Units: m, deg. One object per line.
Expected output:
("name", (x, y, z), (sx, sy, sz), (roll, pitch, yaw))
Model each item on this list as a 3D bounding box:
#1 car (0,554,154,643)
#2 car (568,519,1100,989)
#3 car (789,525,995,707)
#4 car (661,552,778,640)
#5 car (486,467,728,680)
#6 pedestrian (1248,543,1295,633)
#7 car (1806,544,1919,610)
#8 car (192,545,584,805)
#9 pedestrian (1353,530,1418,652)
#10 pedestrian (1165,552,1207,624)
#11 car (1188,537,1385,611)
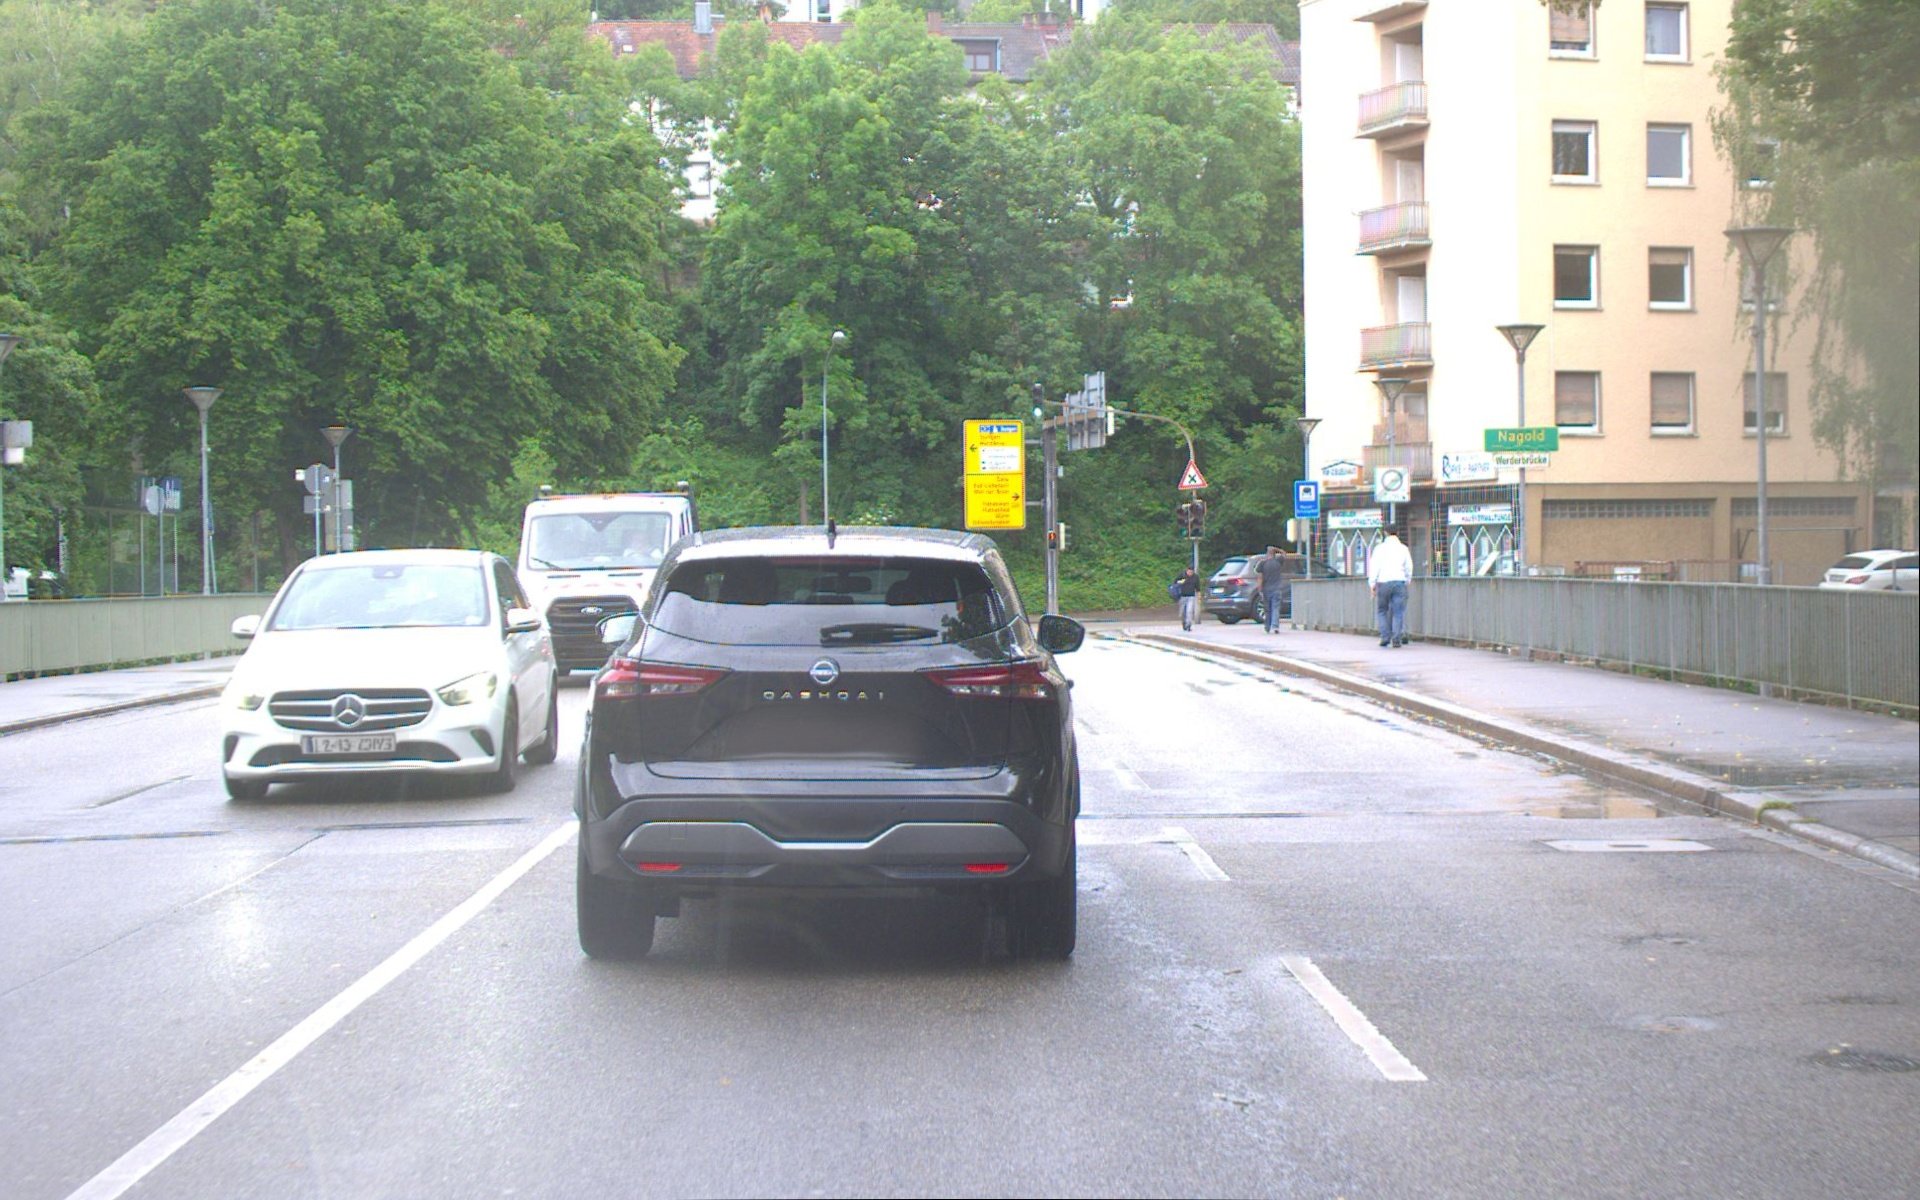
("car", (-20.219, -0.040, 75.527), (4.741, 1.848, 2.001), (-1, 2, -9))
("car", (-0.457, 0.494, 13.785), (1.811, 1.597, 4.000), (0, 1, -1))
("car", (-0.626, 0.109, 32.494), (1.811, 1.597, 4.000), (1, 1, -1))
("car", (-4.130, -0.101, 59.476), (1.745, 1.434, 4.000), (-1, 1, 0))
("car", (-4.150, -0.370, 41.568), (2.289, 2.300, 6.510), (-2, 1, -1))
("pedestrian", (5.914, -0.229, 65.307), (0.761, 1.671, 0.781), (-3, 1, 0))
("car", (21.737, -0.546, 78.435), (4.438, 1.371, 1.818), (-1, 3, -17))
("car", (-3.670, 0.419, 22.761), (1.781, 1.469, 4.167), (-2, 1, 1))
("pedestrian", (6.182, -0.129, 49.974), (0.779, 1.746, 1.061), (-1, 0, -1))
("pedestrian", (5.142, -0.274, 78.223), (0.862, 1.613, 0.839), (-2, 0, 0))
("car", (7.927, -0.634, 83.336), (4.366, 1.643, 1.884), (-2, 0, -26))
